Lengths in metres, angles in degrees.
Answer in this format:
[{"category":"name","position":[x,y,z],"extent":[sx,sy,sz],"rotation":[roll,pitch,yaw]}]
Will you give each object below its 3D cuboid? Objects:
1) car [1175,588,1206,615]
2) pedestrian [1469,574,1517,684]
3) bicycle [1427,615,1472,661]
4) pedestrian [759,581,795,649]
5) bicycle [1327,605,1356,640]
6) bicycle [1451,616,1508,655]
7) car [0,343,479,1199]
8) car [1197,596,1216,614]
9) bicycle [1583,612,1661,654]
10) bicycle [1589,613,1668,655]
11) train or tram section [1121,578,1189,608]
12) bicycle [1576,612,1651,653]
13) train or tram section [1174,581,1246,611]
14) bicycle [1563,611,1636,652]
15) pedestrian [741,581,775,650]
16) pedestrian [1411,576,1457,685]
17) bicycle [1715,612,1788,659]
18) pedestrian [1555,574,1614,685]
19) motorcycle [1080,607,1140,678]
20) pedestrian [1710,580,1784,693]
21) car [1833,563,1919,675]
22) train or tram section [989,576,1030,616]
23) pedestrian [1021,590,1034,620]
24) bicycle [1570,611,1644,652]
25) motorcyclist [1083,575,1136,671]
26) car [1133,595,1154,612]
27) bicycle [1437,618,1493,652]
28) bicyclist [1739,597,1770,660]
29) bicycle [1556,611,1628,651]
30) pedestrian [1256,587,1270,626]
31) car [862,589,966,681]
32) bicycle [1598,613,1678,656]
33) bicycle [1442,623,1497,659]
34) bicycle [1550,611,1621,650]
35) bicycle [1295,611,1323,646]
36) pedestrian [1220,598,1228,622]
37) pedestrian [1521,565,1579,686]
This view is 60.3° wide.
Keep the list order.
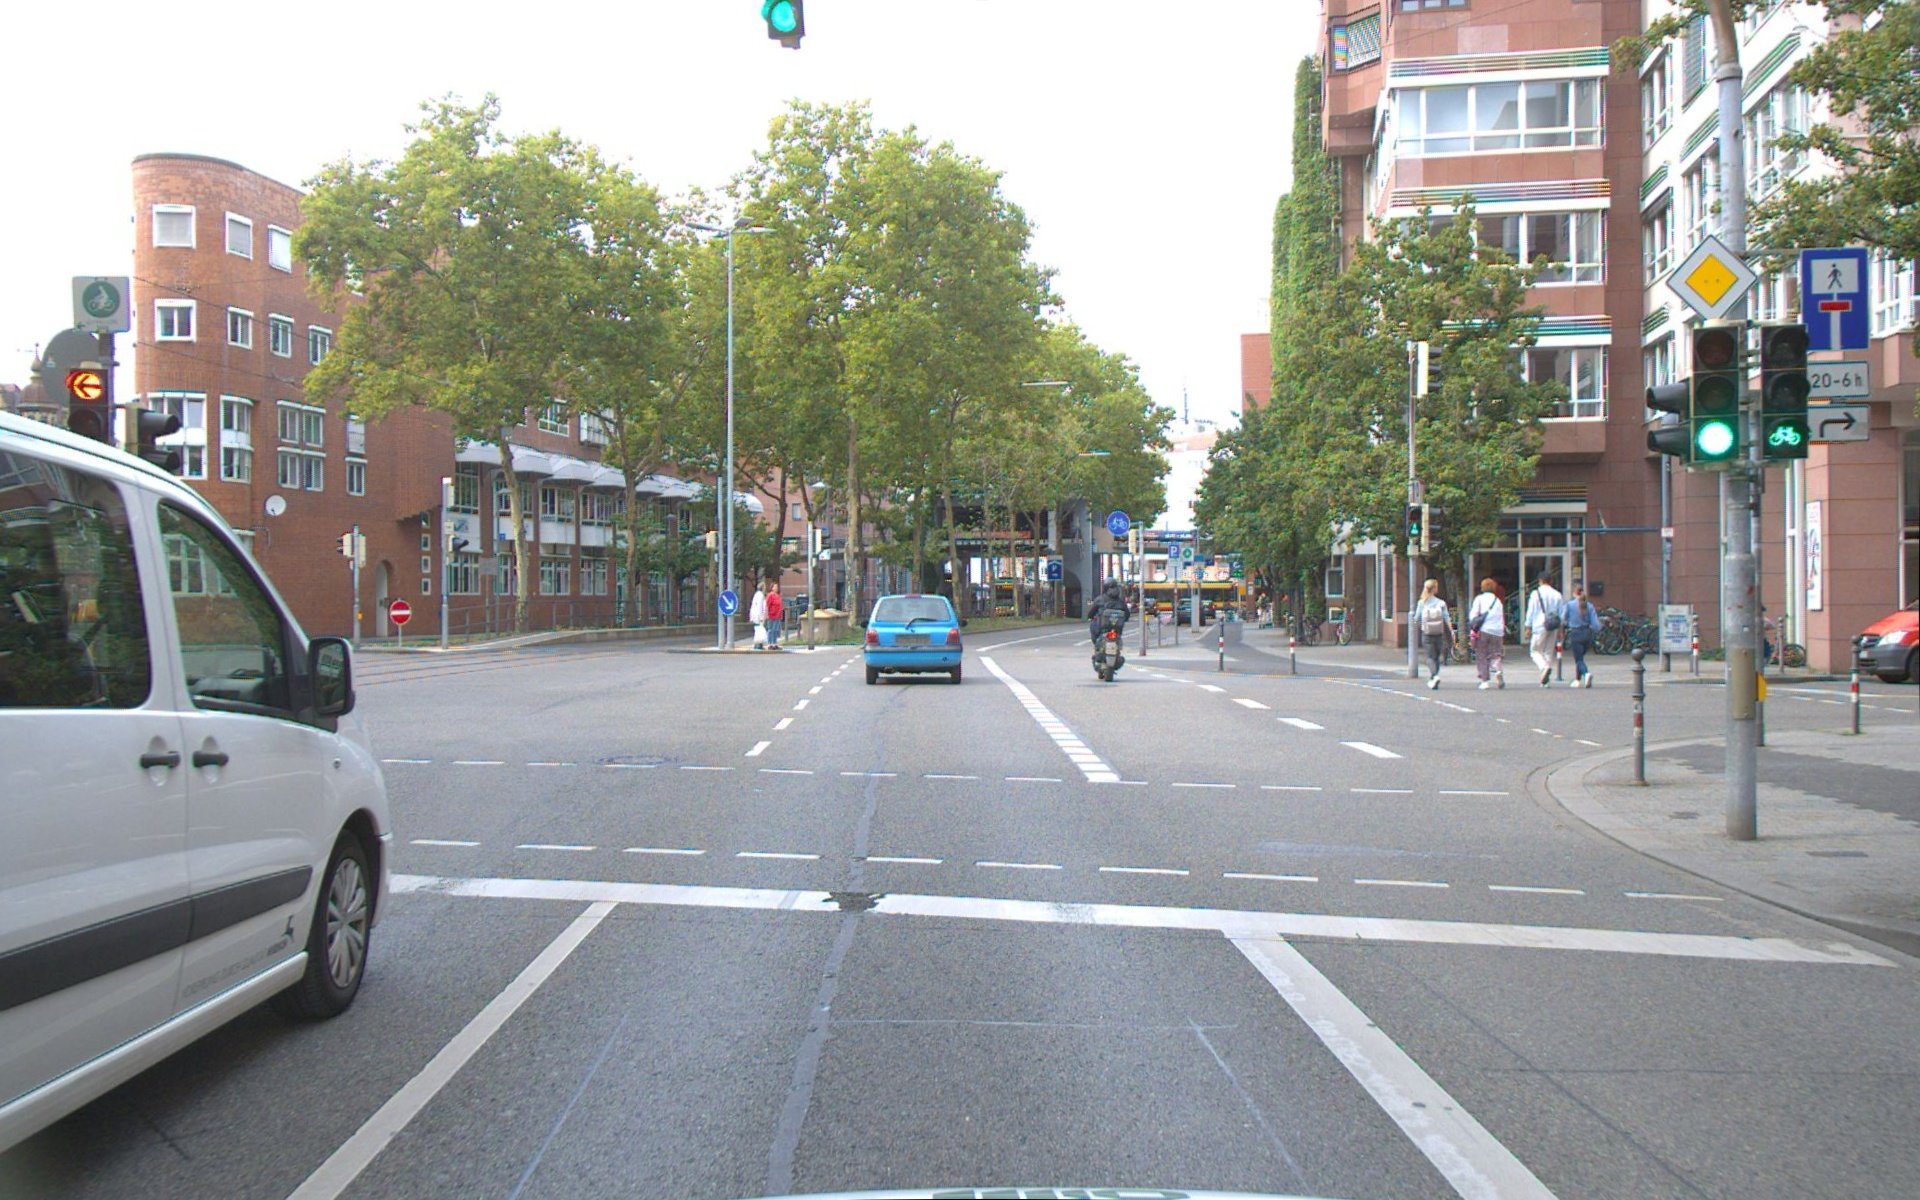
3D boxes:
[{"category":"car","position":[14.043,0.074,100.765],"extent":[1.662,1.629,4.004],"rotation":[0,0,11]},{"category":"pedestrian","position":[8.144,0.434,25.296],"extent":[0.506,1.644,0.851],"rotation":[0,0,5]},{"category":"bicycle","position":[11.355,0.866,38.414],"extent":[0.604,1.026,1.736],"rotation":[0,0,3]},{"category":"pedestrian","position":[-4.767,0.395,43.078],"extent":[0.542,1.748,0.890],"rotation":[0,0,25]},{"category":"bicycle","position":[11.587,0.668,50.302],"extent":[0.604,1.026,1.736],"rotation":[0,0,4]},{"category":"bicycle","position":[12.754,0.867,40.637],"extent":[1.272,0.883,0.454],"rotation":[-3,-1,21]},{"category":"car","position":[-2.920,0.454,4.427],"extent":[1.892,1.959,4.954],"rotation":[-1,1,-1]},{"category":"car","position":[23.424,0.489,157.014],"extent":[1.662,1.629,4.004],"rotation":[0,0,11]},{"category":"bicycle","position":[16.375,0.819,40.919],"extent":[1.693,1.026,0.547],"rotation":[0,0,5]},{"category":"bicycle","position":[16.284,0.826,40.332],"extent":[1.693,1.026,0.547],"rotation":[0,0,5]},{"category":"train or tram section","position":[21.966,-0.816,186.245],"extent":[8.737,3.311,2.362],"rotation":[-1,0,-41]},{"category":"bicycle","position":[16.484,0.811,41.725],"extent":[1.693,1.026,0.425],"rotation":[0,0,5]},{"category":"train or tram section","position":[28.905,-0.494,190.938],"extent":[8.223,3.311,2.379],"rotation":[-1,0,-24]},{"category":"bicycle","position":[16.514,0.808,42.743],"extent":[1.693,1.026,0.472],"rotation":[0,0,5]},{"category":"pedestrian","position":[-5.145,0.388,42.196],"extent":[0.541,1.748,0.891],"rotation":[0,0,16]},{"category":"pedestrian","position":[7.291,0.456,25.448],"extent":[0.506,1.644,0.851],"rotation":[0,0,4]},{"category":"bicycle","position":[16.154,0.723,33.765],"extent":[1.293,0.931,0.473],"rotation":[0,0,37]},{"category":"pedestrian","position":[9.922,0.453,26.289],"extent":[0.638,1.730,1.023],"rotation":[0,0,6]},{"category":"motorcycle","position":[2.481,0.686,27.600],"extent":[0.752,1.126,2.208],"rotation":[-1,0,-1]},{"category":"pedestrian","position":[11.163,0.506,23.483],"extent":[0.661,1.565,0.948],"rotation":[0,0,6]},{"category":"car","position":[17.781,0.328,28.196],"extent":[4.723,1.857,2.001],"rotation":[0,-2,11]},{"category":"train or tram section","position":[4.275,-0.346,141.792],"extent":[2.338,3.310,8.825],"rotation":[-1,0,9]},{"category":"pedestrian","position":[4.280,0.295,105.352],"extent":[0.712,1.891,0.871],"rotation":[0,0,11]},{"category":"bicycle","position":[16.499,0.810,42.215],"extent":[1.693,1.026,0.479],"rotation":[0,0,5]},{"category":"motorcyclist","position":[2.476,0.371,27.426],"extent":[0.744,1.546,1.017],"rotation":[-1,0,-1]},{"category":"car","position":[18.066,0.375,162.715],"extent":[1.846,1.652,4.003],"rotation":[0,0,11]},{"category":"bicycle","position":[12.313,0.845,40.313],"extent":[1.272,0.828,0.444],"rotation":[0,0,21]},{"category":"bicyclist","position":[16.193,0.577,33.722],"extent":[0.488,1.266,0.479],"rotation":[0,0,36]},{"category":"bicycle","position":[16.516,0.809,43.260],"extent":[1.693,1.026,0.438],"rotation":[0,0,5]},{"category":"pedestrian","position":[14.739,0.333,80.466],"extent":[0.633,1.891,0.783],"rotation":[0,0,9]},{"category":"car","position":[-0.733,0.533,27.493],"extent":[1.607,1.410,3.842],"rotation":[0,0,-1]},{"category":"bicycle","position":[16.276,0.830,39.722],"extent":[1.693,1.026,0.547],"rotation":[0,0,5]},{"category":"bicycle","position":[12.268,0.976,39.852],"extent":[1.271,0.852,0.454],"rotation":[0,0,16]},{"category":"bicycle","position":[16.545,0.810,43.763],"extent":[1.693,1.026,0.431],"rotation":[0,0,5]},{"category":"bicycle","position":[10.560,0.844,50.065],"extent":[0.604,1.026,1.736],"rotation":[0,0,4]},{"category":"pedestrian","position":[19.386,0.727,121.398],"extent":[0.499,1.790,0.539],"rotation":[-1,0,10]},{"category":"pedestrian","position":[9.287,0.395,26.058],"extent":[0.662,1.860,0.851],"rotation":[0,0,5]}]
